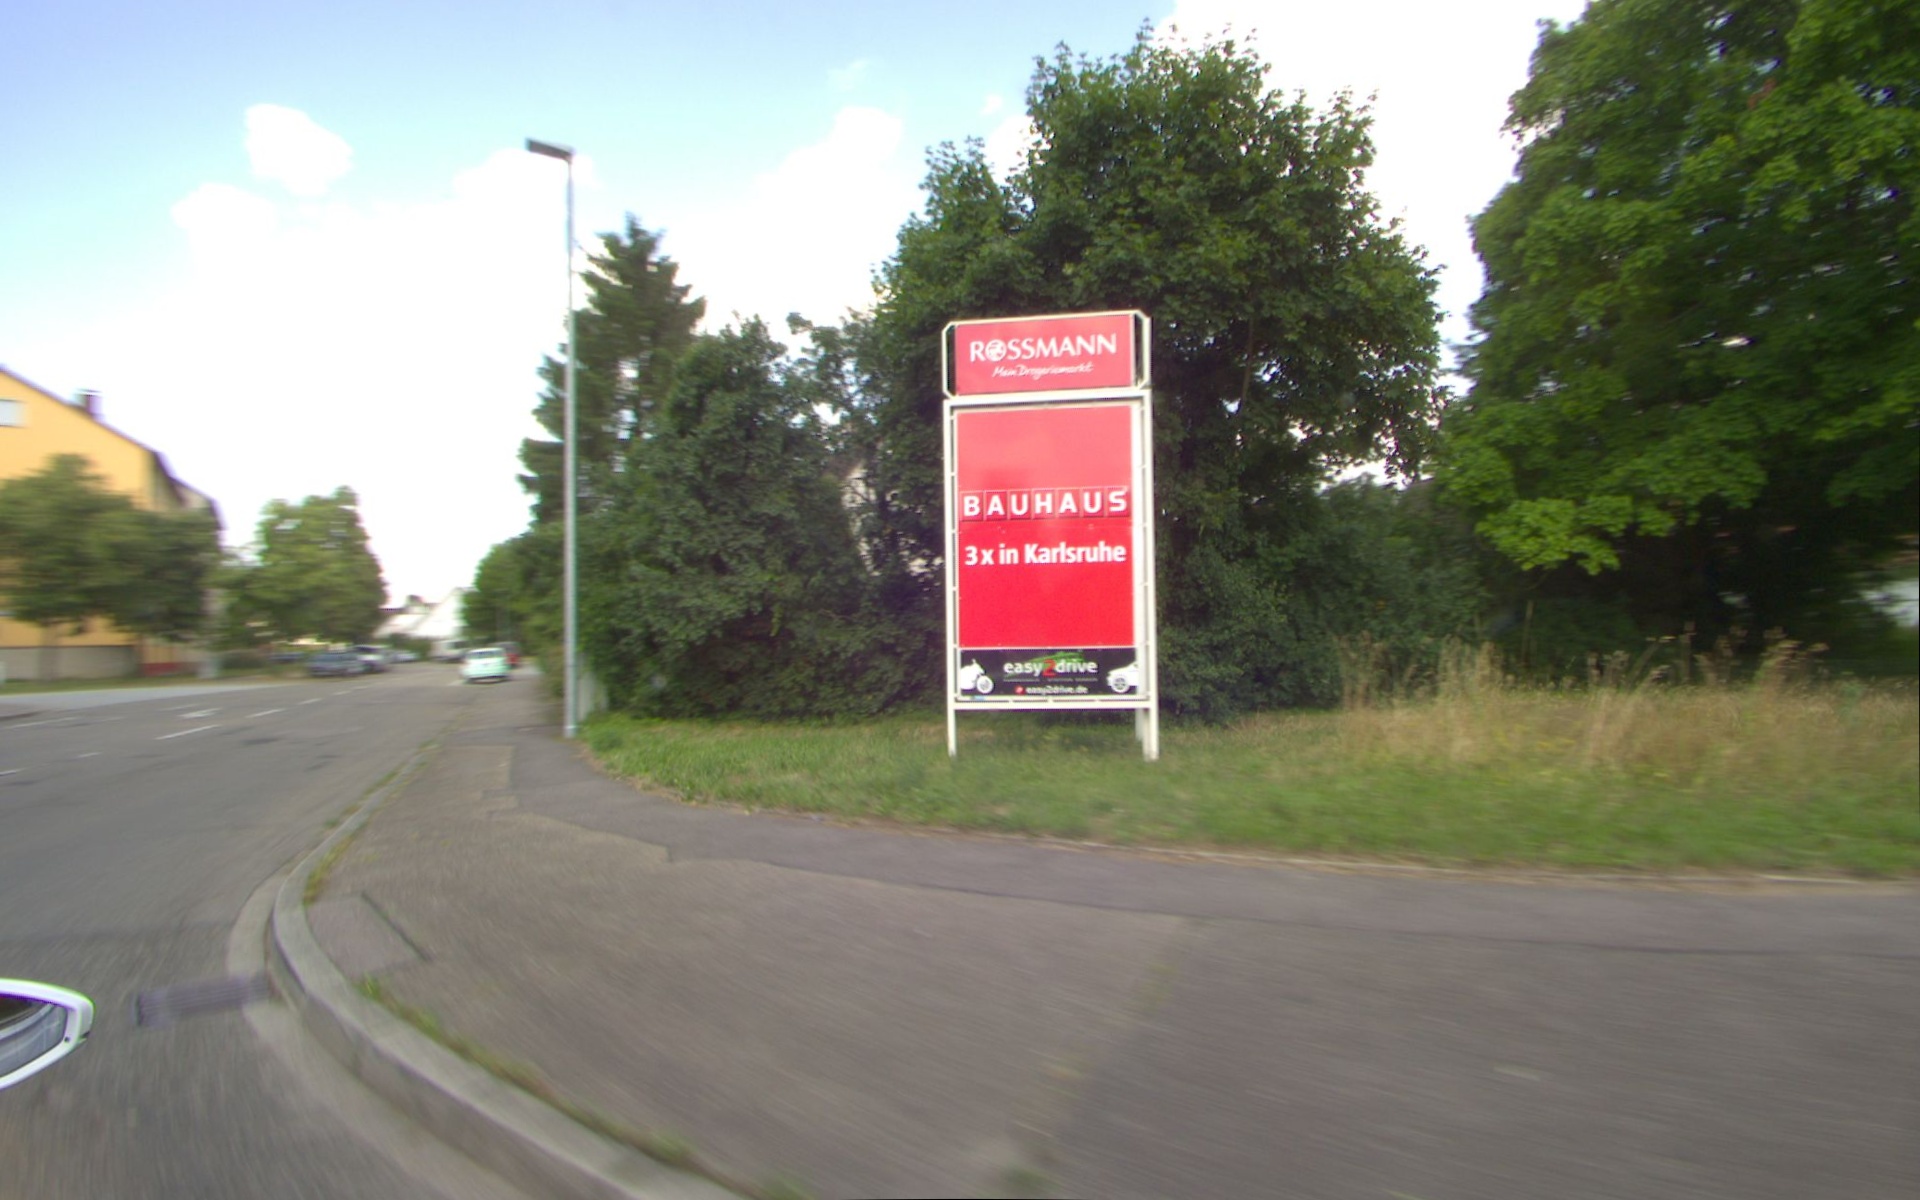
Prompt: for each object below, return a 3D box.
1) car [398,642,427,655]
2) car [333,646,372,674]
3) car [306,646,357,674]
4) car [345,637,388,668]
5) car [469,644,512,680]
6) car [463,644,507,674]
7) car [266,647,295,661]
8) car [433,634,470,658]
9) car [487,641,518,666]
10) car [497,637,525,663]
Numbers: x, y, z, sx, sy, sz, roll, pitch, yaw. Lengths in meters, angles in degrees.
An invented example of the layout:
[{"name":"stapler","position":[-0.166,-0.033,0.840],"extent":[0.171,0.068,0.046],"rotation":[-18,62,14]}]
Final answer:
[{"name":"car","position":[-63.073,5.581,115.309],"extent":[4.320,1.476,1.727],"rotation":[-3,-3,44]},{"name":"car","position":[-38.366,3.785,63.319],"extent":[1.499,1.568,3.744],"rotation":[6,-4,-23]},{"name":"car","position":[-35.929,3.452,57.337],"extent":[1.662,1.504,3.976],"rotation":[3,-5,-21]},{"name":"car","position":[-41.824,3.656,70.663],"extent":[1.856,2.034,5.306],"rotation":[4,-4,-24]},{"name":"car","position":[-21.078,2.762,45.039],"extent":[1.560,1.539,3.745],"rotation":[0,-2,-23]},{"name":"car","position":[-24.477,3.010,51.675],"extent":[1.697,1.505,3.741],"rotation":[0,-2,-20]},{"name":"car","position":[-79.152,6.276,116.695],"extent":[4.388,1.474,1.780],"rotation":[-3,-7,43]},{"name":"car","position":[-53.046,4.802,104.341],"extent":[2.102,2.472,5.845],"rotation":[1,-2,-41]},{"name":"car","position":[-30.907,3.591,67.726],"extent":[1.826,1.599,4.719],"rotation":[0,-2,-23]},{"name":"car","position":[-35.899,3.980,80.017],"extent":[1.819,1.969,4.858],"rotation":[-2,-1,-26]}]
